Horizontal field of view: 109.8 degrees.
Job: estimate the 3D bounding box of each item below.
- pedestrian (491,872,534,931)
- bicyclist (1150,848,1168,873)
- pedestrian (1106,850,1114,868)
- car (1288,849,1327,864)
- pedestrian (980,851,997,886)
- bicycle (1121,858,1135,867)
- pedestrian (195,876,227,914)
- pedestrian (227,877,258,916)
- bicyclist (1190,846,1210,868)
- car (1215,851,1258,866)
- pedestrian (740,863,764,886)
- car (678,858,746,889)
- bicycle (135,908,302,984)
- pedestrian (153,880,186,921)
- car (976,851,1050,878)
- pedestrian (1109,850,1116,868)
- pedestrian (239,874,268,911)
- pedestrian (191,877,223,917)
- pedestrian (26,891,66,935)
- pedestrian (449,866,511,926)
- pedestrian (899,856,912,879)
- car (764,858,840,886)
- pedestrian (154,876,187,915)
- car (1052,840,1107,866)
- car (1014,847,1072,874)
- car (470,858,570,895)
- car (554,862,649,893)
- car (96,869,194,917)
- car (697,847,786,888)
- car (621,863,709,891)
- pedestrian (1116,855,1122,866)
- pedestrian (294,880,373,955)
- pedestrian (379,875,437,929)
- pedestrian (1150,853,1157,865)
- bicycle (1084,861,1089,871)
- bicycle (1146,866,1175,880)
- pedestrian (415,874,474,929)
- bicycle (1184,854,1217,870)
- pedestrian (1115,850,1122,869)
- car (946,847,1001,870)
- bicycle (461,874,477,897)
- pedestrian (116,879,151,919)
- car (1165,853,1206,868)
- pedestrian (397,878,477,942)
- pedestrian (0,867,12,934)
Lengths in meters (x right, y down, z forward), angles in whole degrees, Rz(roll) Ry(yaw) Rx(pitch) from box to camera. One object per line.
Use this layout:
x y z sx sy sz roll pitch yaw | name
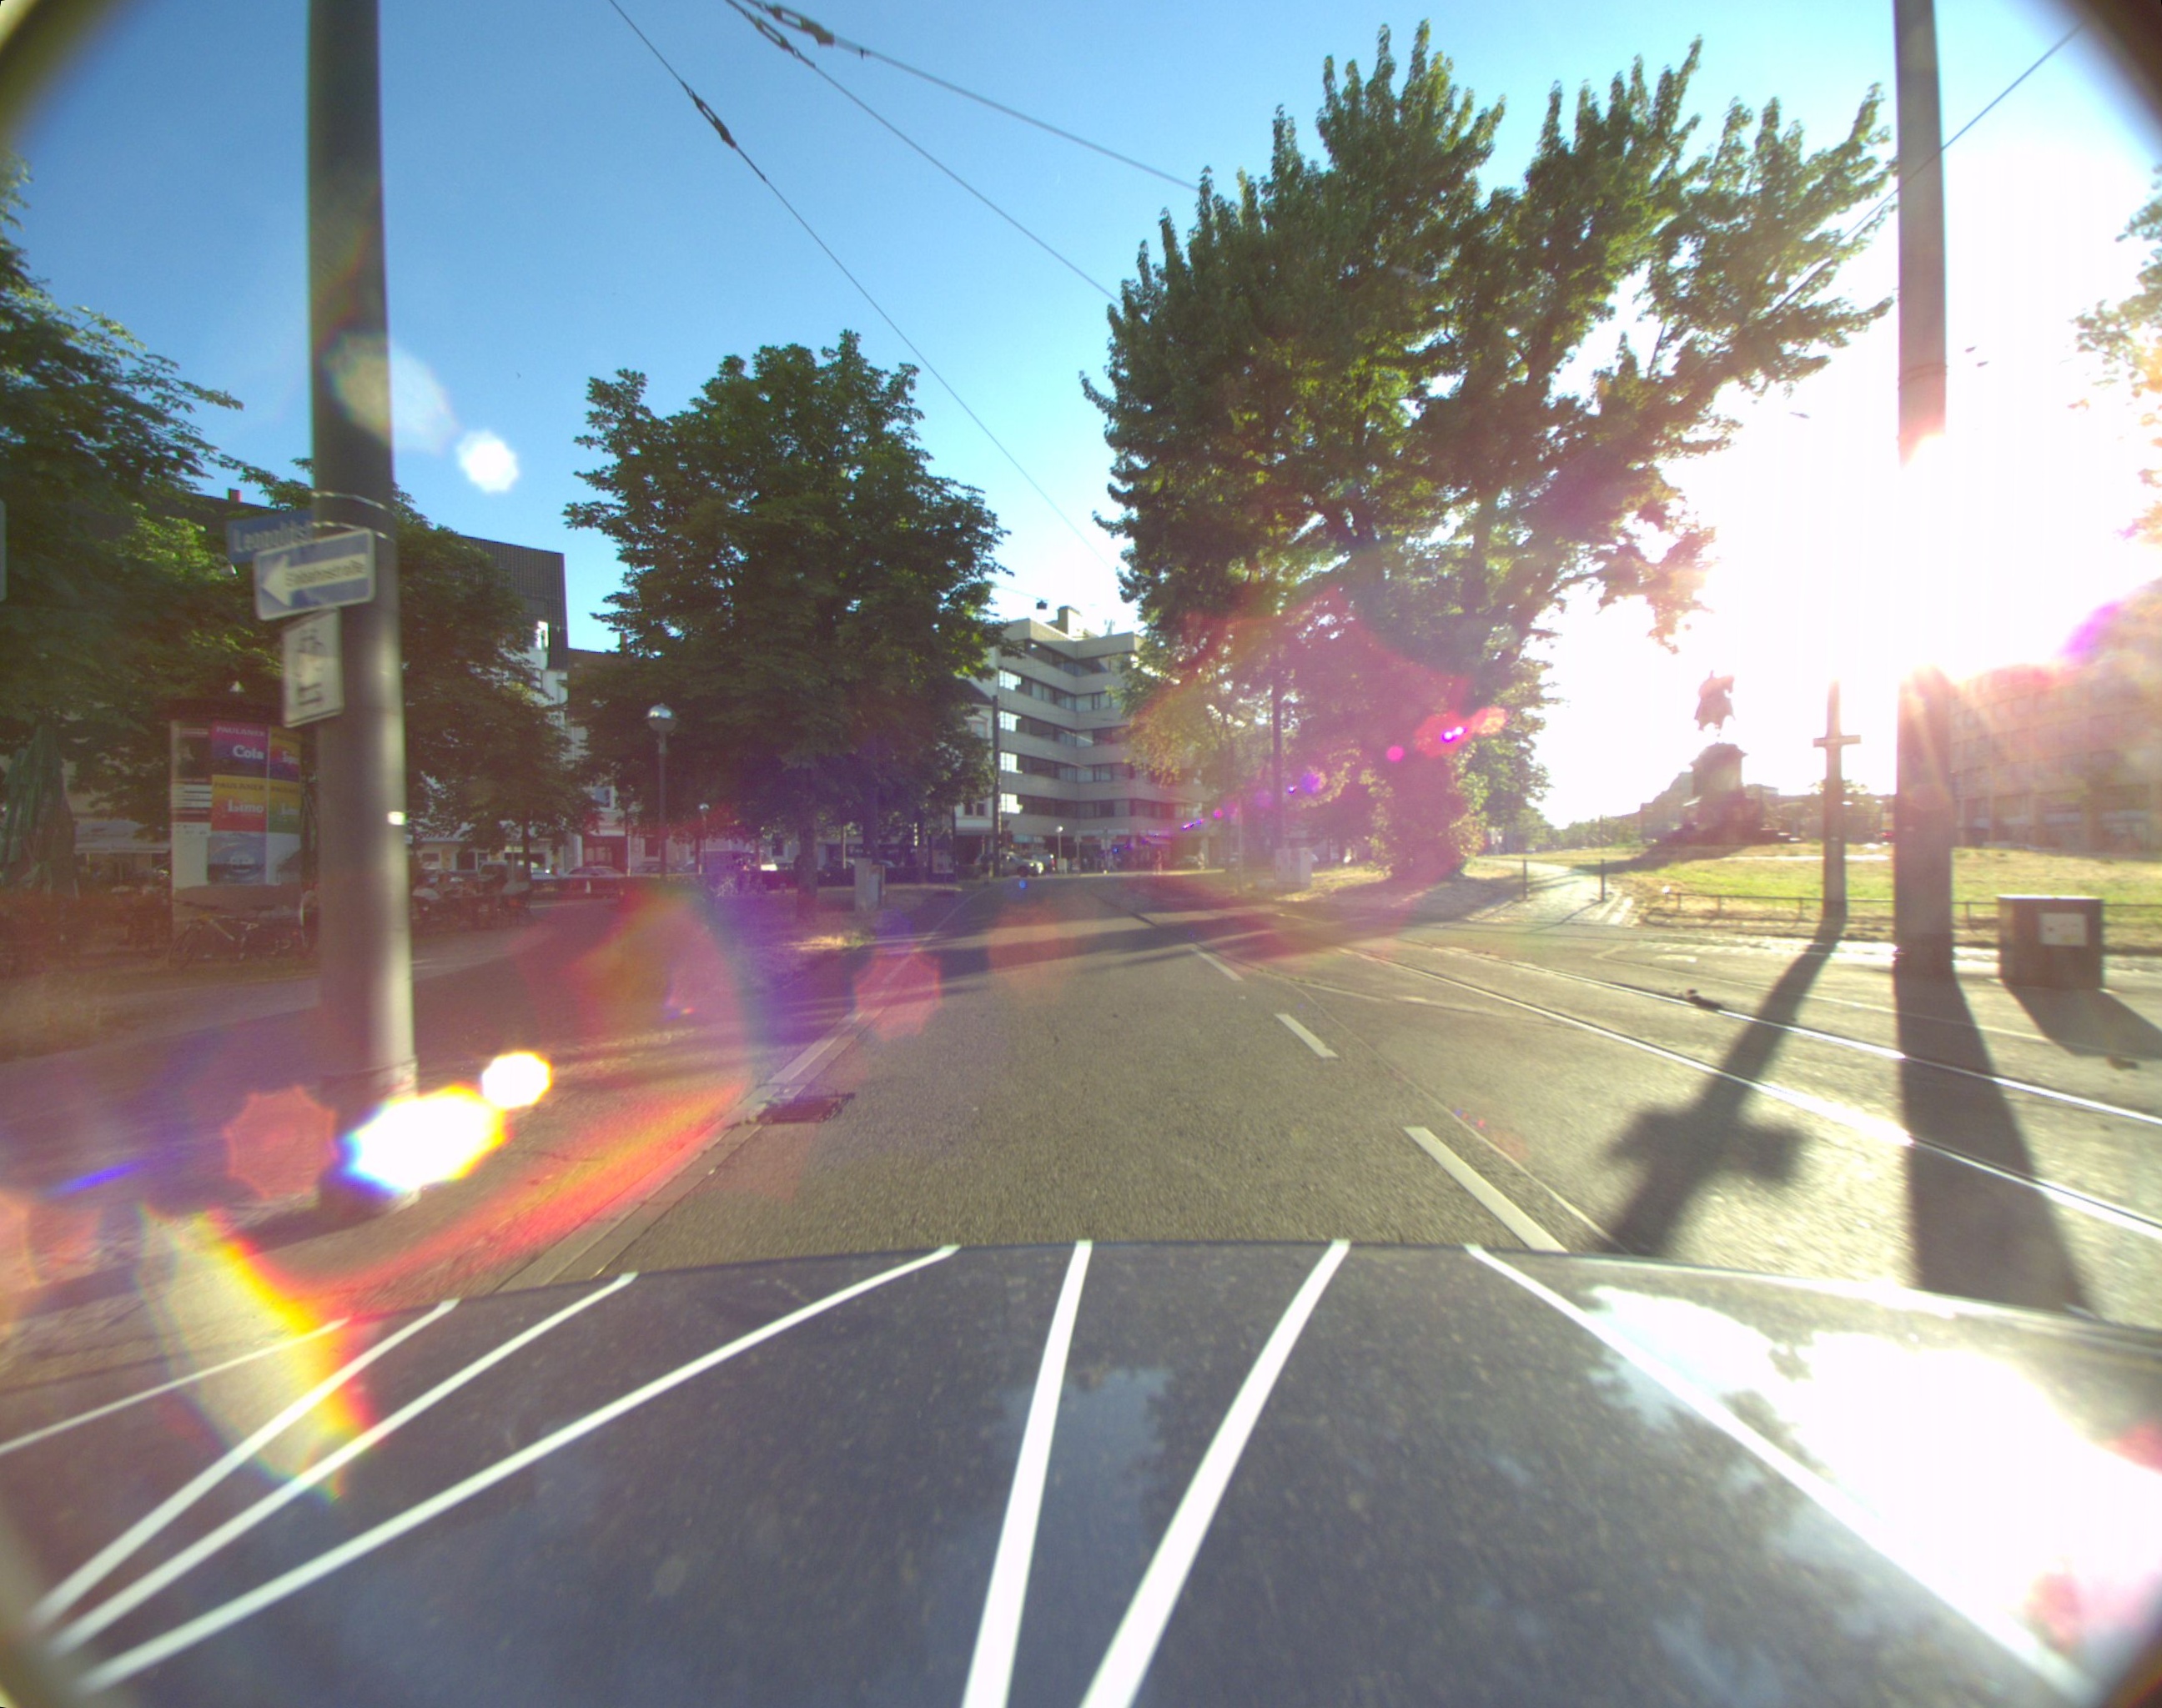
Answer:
-12.362 1.013 16.526 0.567 1.237 0.614 0 1 40 | pedestrian
6.316 0.536 61.560 1.115 1.962 0.922 -2 0 -33 | bicyclist
2.990 0.504 77.716 0.537 1.828 0.619 1 3 -29 | pedestrian
27.415 0.296 91.941 4.531 1.596 1.995 -2 0 -33 | car
-4.732 0.742 38.865 0.587 1.733 0.644 -1 0 22 | pedestrian
4.967 0.907 80.298 1.445 0.987 0.531 0 2 3 | bicycle
-26.192 1.231 22.881 0.494 1.111 0.556 -3 1 -40 | pedestrian
-24.680 1.244 22.378 0.494 1.111 0.556 -3 1 -40 | pedestrian
11.281 0.293 71.883 1.369 1.980 1.233 -2 1 -41 | bicyclist
17.321 0.499 84.570 4.531 1.596 1.995 -2 0 -33 | car
-17.924 1.123 41.395 0.963 1.218 1.368 -2 0 -33 | pedestrian
-25.864 1.326 53.346 4.007 1.875 1.947 -2 3 -35 | car
-12.691 1.327 11.250 1.532 0.924 0.554 -2 1 -37 | bicycle
-25.533 1.297 21.291 0.459 1.111 0.556 -3 1 -40 | pedestrian
-4.755 0.717 53.321 4.699 1.761 2.003 -2 0 22 | car
3.148 0.526 76.987 0.603 1.828 0.574 3 3 -1 | pedestrian
-25.592 1.185 23.508 0.494 1.111 0.556 -3 1 -40 | pedestrian
-25.230 1.231 21.939 0.494 1.111 0.556 -3 1 -40 | pedestrian
-27.001 1.531 19.830 0.459 1.111 0.529 -3 1 -40 | pedestrian
-14.392 0.977 18.200 0.730 1.348 1.017 1 2 43 | pedestrian
-14.307 1.082 61.815 0.796 1.789 0.637 -2 0 -36 | pedestrian
-17.073 1.102 46.561 3.991 1.595 1.955 -2 0 20 | car
-26.856 1.222 22.414 0.494 1.111 0.556 -3 1 -40 | pedestrian
-0.171 -0.171 80.658 5.420 2.711 2.185 0 1 27 | car
-3.266 0.536 65.841 4.531 2.143 1.995 -2 0 -33 | car
-28.583 1.126 38.775 3.992 1.696 2.002 -2 0 15 | car
-25.534 1.260 40.522 3.993 1.477 2.002 -2 0 13 | car
-38.378 1.548 31.264 1.916 1.763 3.989 -2 0 -43 | car
-20.046 0.788 44.866 4.869 2.227 2.098 -2 0 26 | car
-23.353 1.270 42.722 3.993 1.390 2.002 -2 0 13 | car
4.078 0.710 81.143 0.460 1.188 0.421 4 3 31 | pedestrian
-13.921 1.178 14.156 0.950 1.276 0.664 -6 -1 22 | pedestrian
-16.405 1.155 18.526 0.661 1.235 0.953 -3 1 43 | pedestrian
8.154 0.582 85.040 0.610 1.313 0.592 -1 1 21 | pedestrian
0.524 1.168 73.144 0.302 0.987 1.293 -2 0 -9 | bicycle
6.471 1.509 61.649 2.225 1.070 0.934 -2 0 -33 | bicycle
-15.520 1.164 18.528 0.661 1.235 0.953 -6 -1 43 | pedestrian
11.341 0.754 71.983 3.247 1.353 1.269 -2 1 -41 | bicycle
3.744 0.566 76.347 0.500 1.828 0.532 2 3 -16 | pedestrian
-9.251 0.350 65.482 4.237 1.774 1.927 -2 2 -36 | car
-27.436 1.398 34.078 0.325 0.990 1.471 -2 1 -31 | bicycle
-27.350 1.281 21.938 0.494 1.111 0.556 -3 1 -40 | pedestrian
10.991 0.692 79.978 4.007 1.433 1.791 -2 0 -34 | car
-13.234 1.138 15.635 0.778 1.235 0.990 -2 0 27 | pedestrian
-27.558 1.186 19.246 0.329 1.675 0.388 -1 1 -3 | pedestrian
